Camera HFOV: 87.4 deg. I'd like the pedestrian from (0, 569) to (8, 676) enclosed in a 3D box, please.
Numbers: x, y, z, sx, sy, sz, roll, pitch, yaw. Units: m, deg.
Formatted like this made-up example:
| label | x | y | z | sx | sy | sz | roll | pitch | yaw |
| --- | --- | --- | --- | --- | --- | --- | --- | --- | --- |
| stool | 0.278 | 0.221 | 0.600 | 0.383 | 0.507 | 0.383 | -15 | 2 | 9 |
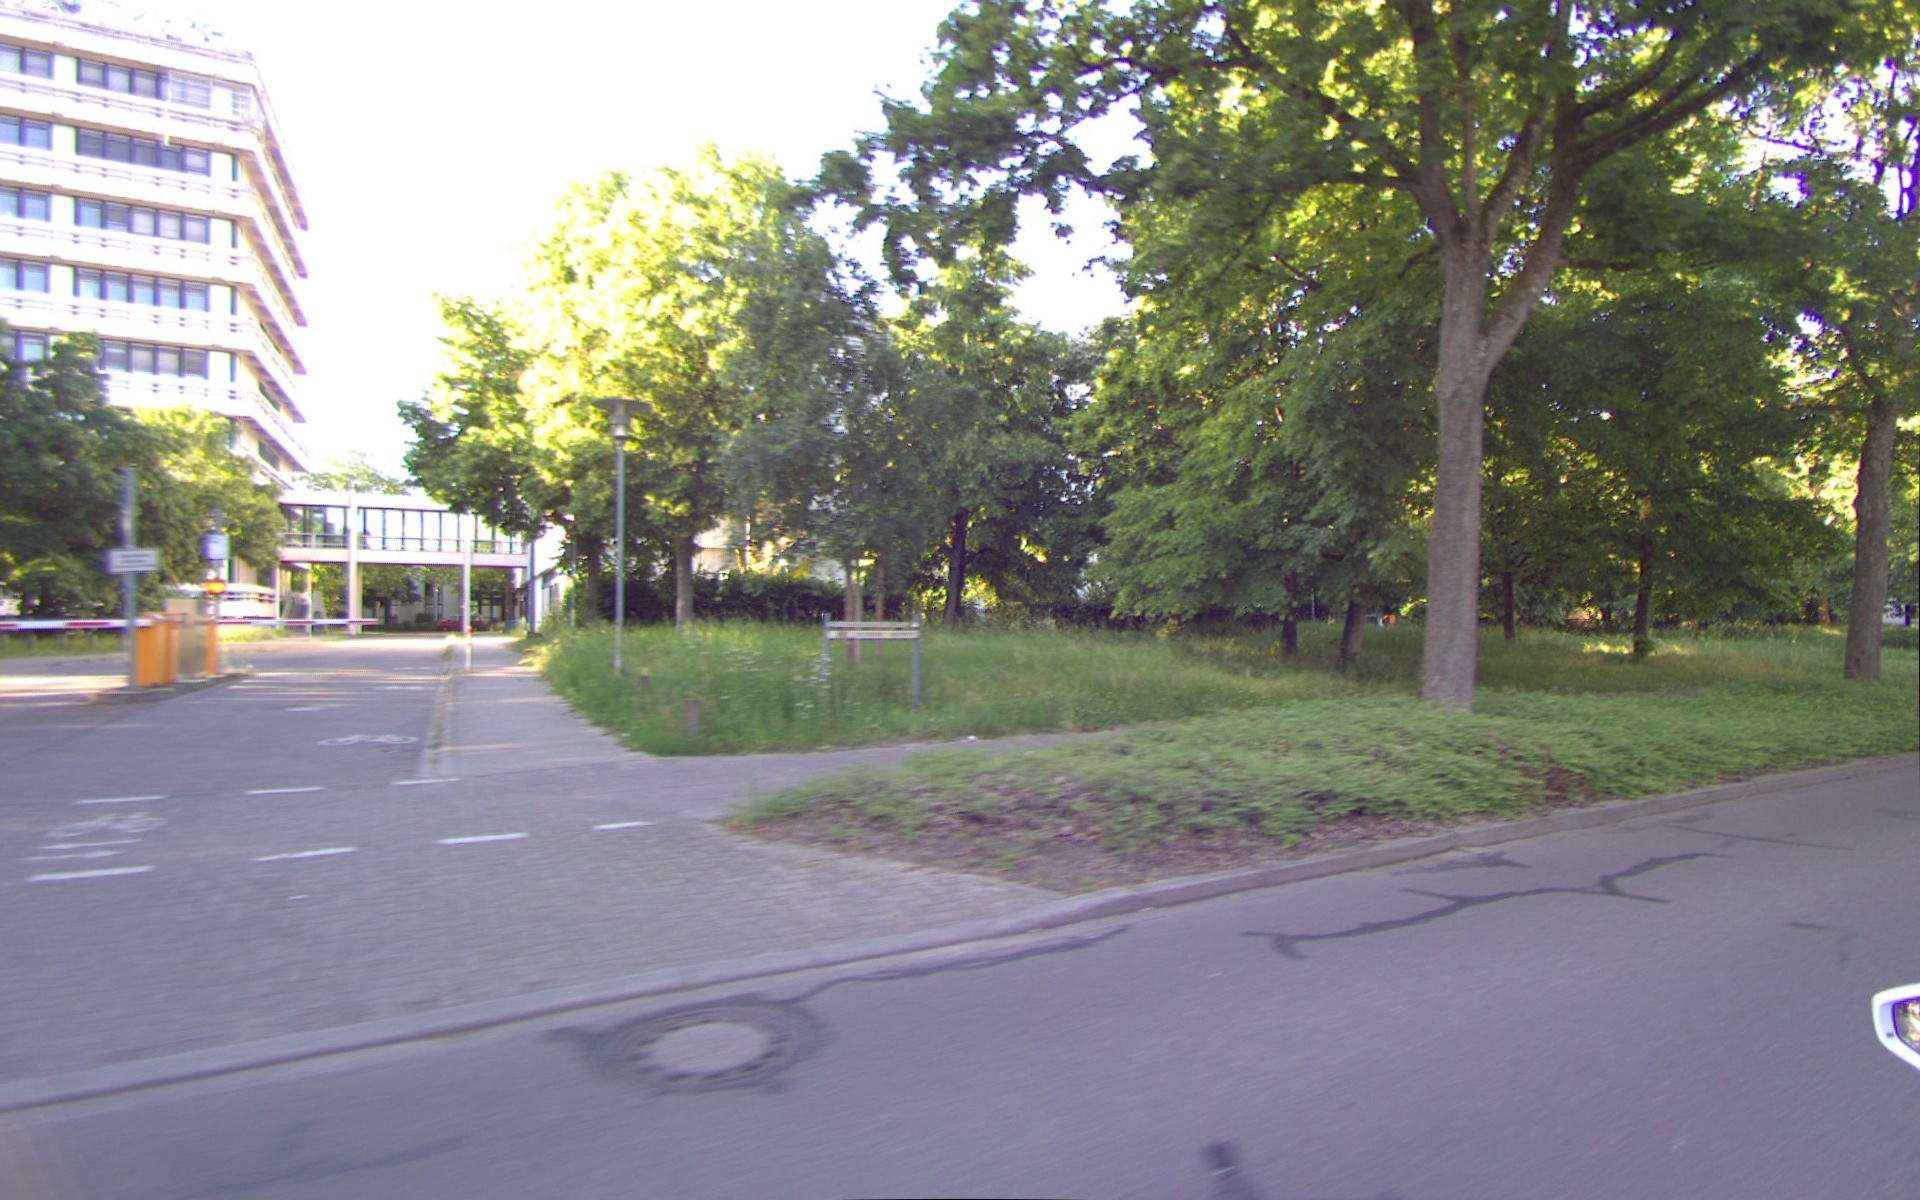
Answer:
| label | x | y | z | sx | sy | sz | roll | pitch | yaw |
| --- | --- | --- | --- | --- | --- | --- | --- | --- | --- |
| pedestrian | -18.543 | 0.433 | 18.996 | 0.583 | 2.040 | 0.753 | 1 | 0 | -28 |
